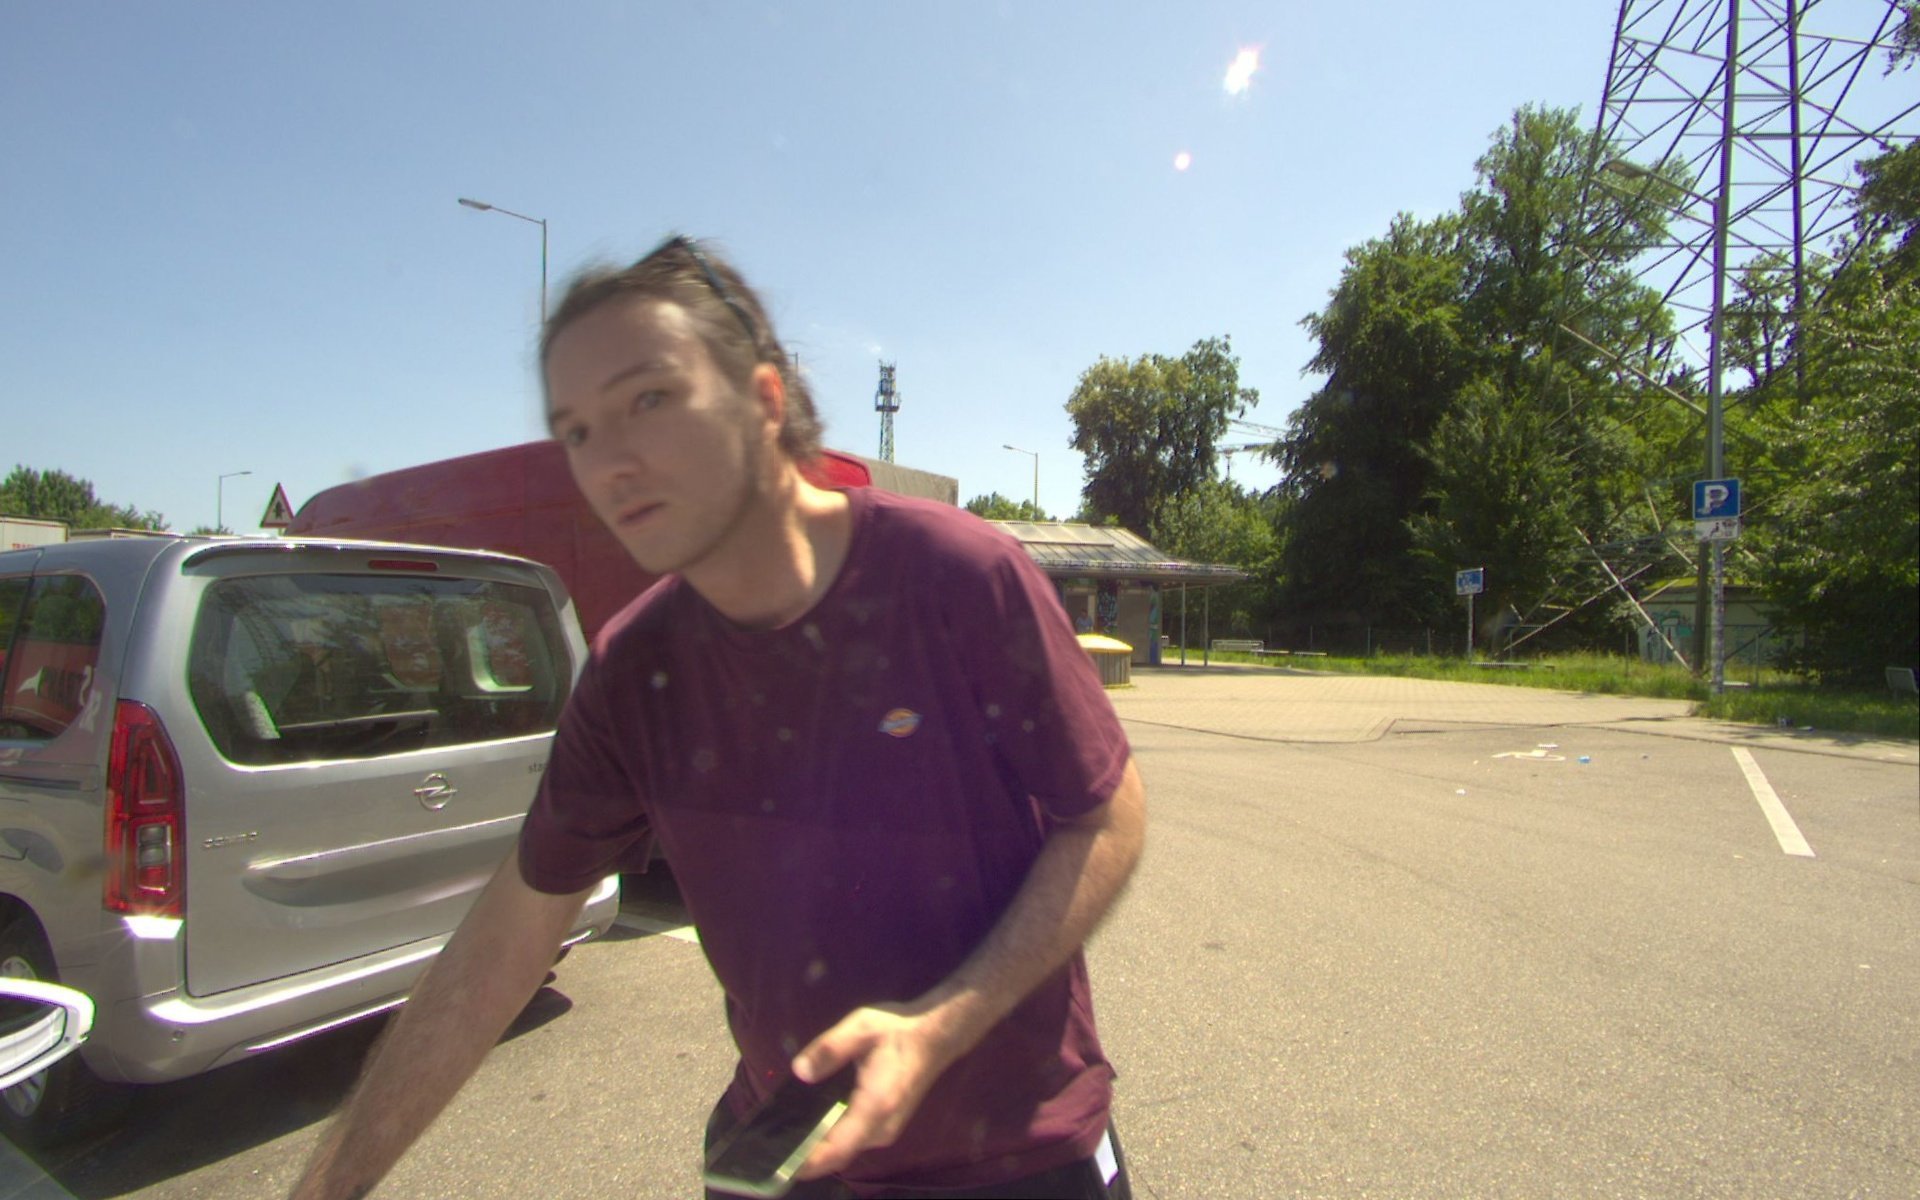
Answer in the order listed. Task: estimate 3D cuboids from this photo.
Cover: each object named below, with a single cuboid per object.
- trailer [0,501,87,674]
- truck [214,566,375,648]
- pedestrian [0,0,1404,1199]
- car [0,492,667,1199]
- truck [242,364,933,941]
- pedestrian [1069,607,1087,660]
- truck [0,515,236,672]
[{"bbox_3d":[-28.798,-0.316,28.022,13.374,4.178,2.871,0,-1,33],"label":"trailer"},{"bbox_3d":[-30.712,0.337,46.064,8.407,3.482,3.019,0,-1,33],"label":"truck"},{"bbox_3d":[-0.149,0.454,0.887,0.926,1.798,0.827,1,0,28],"label":"pedestrian"},{"bbox_3d":[-3.350,0.640,4.205,3.938,1.776,1.824,0,-1,29],"label":"car"},{"bbox_3d":[-2.864,0.266,6.990,5.233,2.658,1.987,0,-1,37],"label":"truck"},{"bbox_3d":[3.492,0.979,29.569,0.453,1.535,0.375,1,0,-2],"label":"pedestrian"},{"bbox_3d":[-27.994,-0.118,31.776,14.316,4.175,2.901,0,-3,33],"label":"truck"}]
